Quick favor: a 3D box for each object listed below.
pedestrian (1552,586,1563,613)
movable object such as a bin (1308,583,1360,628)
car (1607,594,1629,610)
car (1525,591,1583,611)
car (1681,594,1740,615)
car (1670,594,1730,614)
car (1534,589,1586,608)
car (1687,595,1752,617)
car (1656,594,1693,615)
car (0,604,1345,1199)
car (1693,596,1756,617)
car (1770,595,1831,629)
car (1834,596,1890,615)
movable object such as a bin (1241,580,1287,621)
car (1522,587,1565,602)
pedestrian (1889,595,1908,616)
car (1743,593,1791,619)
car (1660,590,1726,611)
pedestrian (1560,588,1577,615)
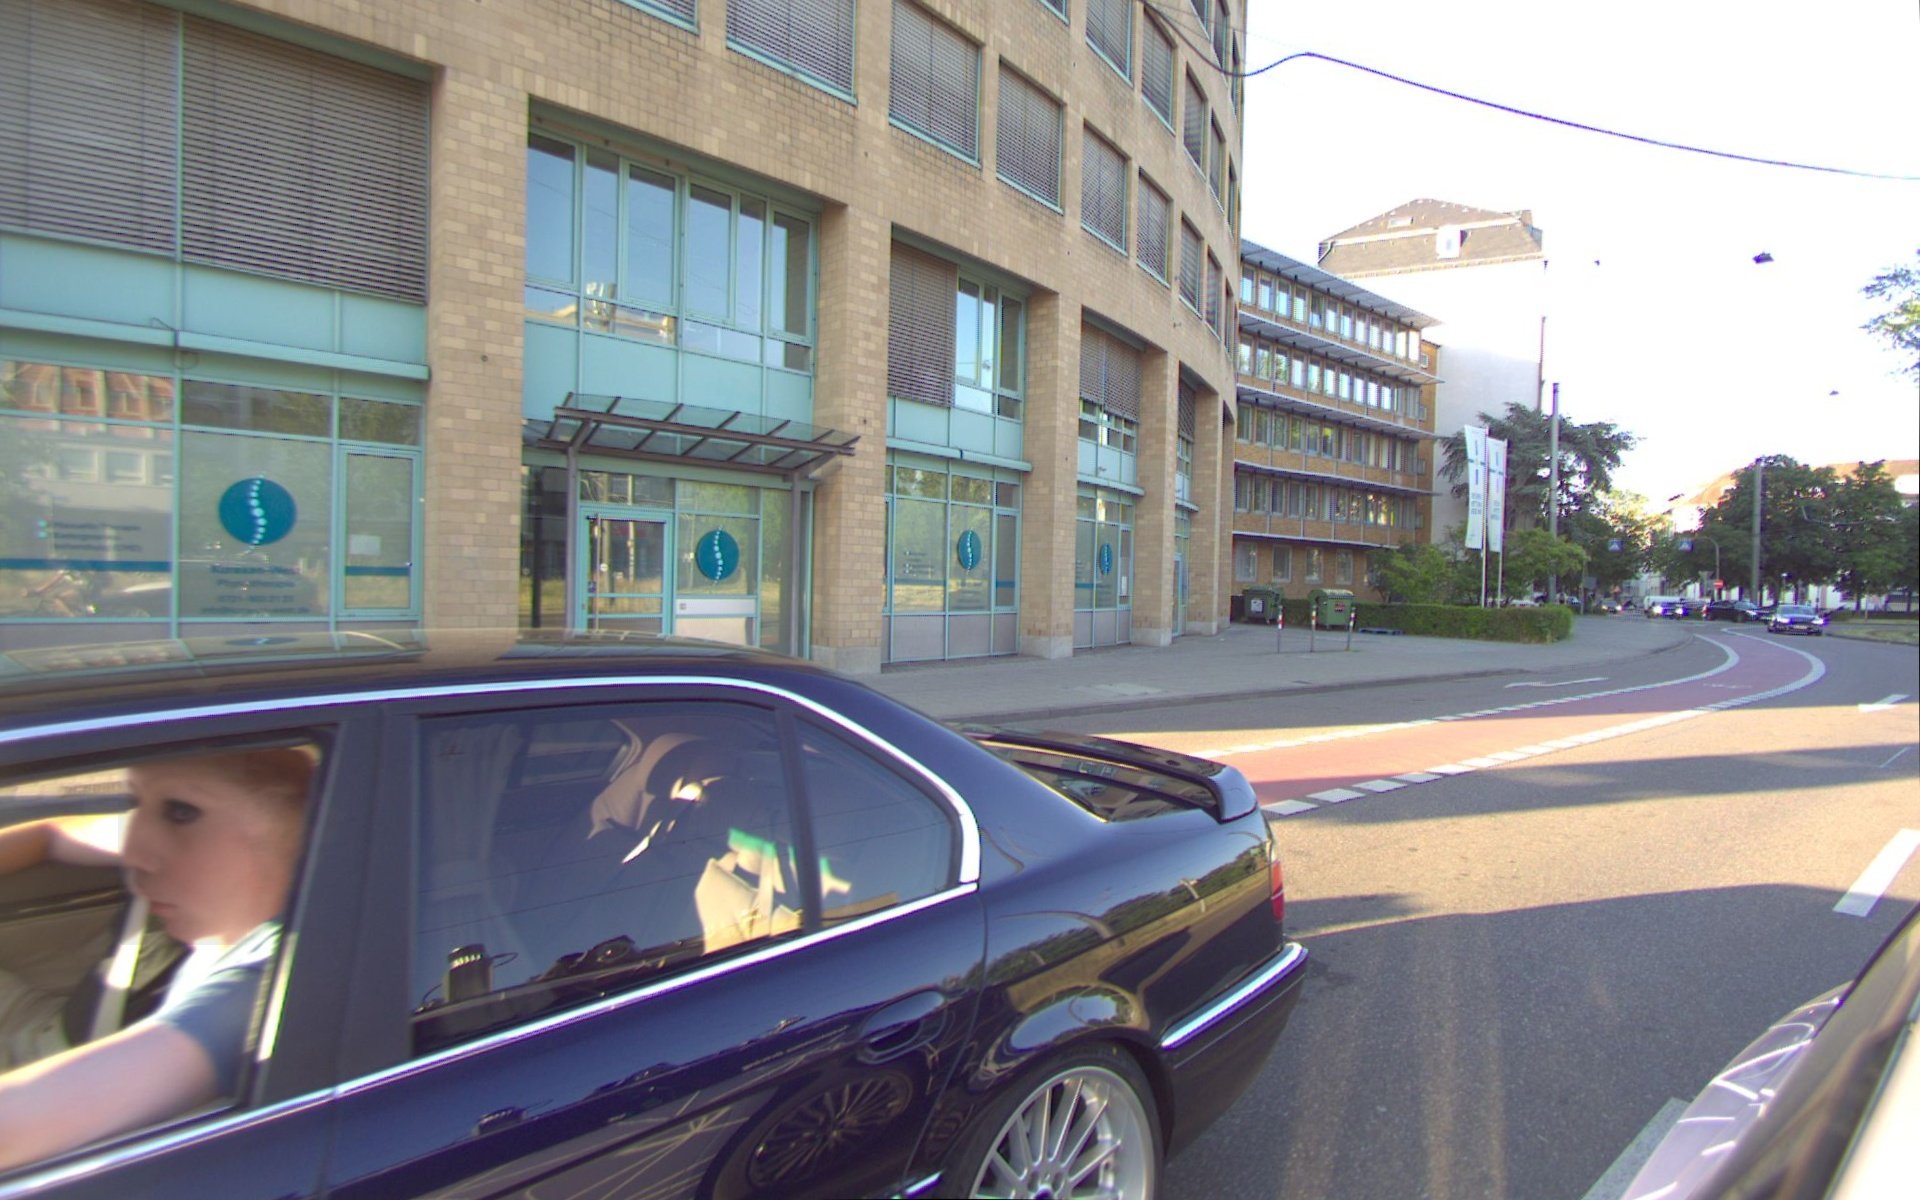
[{"bbox_3d":[39.536,-0.038,67.003,0.573,1.730,0.713,2,0,31],"label":"pedestrian"},{"bbox_3d":[12.931,0.188,34.968,1.317,1.456,0.976,2,0,-22],"label":"movable object such as a bin"},{"bbox_3d":[69.631,0.211,107.025,1.809,1.501,4.083,2,0,35],"label":"car"},{"bbox_3d":[52.513,0.095,89.554,4.361,1.577,1.818,3,1,30],"label":"car"},{"bbox_3d":[68.017,0.410,91.763,4.055,1.638,1.969,3,1,43],"label":"car"},{"bbox_3d":[65.990,0.376,90.273,4.055,1.571,1.969,3,1,43],"label":"car"},{"bbox_3d":[55.418,-0.150,93.531,4.035,1.589,1.818,3,1,30],"label":"car"},{"bbox_3d":[61.893,0.482,82.493,4.055,1.576,1.836,3,1,43],"label":"car"},{"bbox_3d":[54.986,0.366,77.950,1.806,1.501,4.092,3,1,29],"label":"car"},{"bbox_3d":[-1.381,0.709,1.630,4.560,1.371,1.833,1,0,-41],"label":"car"},{"bbox_3d":[63.935,0.541,84.656,4.055,1.576,1.836,3,1,43],"label":"car"},{"bbox_3d":[41.311,0.596,49.819,1.808,1.501,4.086,3,1,33],"label":"car"},{"bbox_3d":[91.116,0.543,102.270,1.672,1.746,4.007,2,1,-42],"label":"car"},{"bbox_3d":[11.267,0.013,37.547,1.340,1.442,0.910,3,0,42],"label":"movable object such as a bin"},{"bbox_3d":[70.417,-0.707,122.183,4.357,1.633,1.713,3,1,27],"label":"car"},{"bbox_3d":[79.835,0.504,86.086,0.769,1.737,0.771,2,0,-10],"label":"pedestrian"},{"bbox_3d":[50.550,0.386,63.461,1.807,1.501,4.089,3,1,31],"label":"car"},{"bbox_3d":[74.292,0.070,102.621,2.083,1.926,5.078,2,1,-39],"label":"car"},{"bbox_3d":[42.435,0.105,70.568,0.805,1.814,0.593,2,0,-30],"label":"pedestrian"}]
